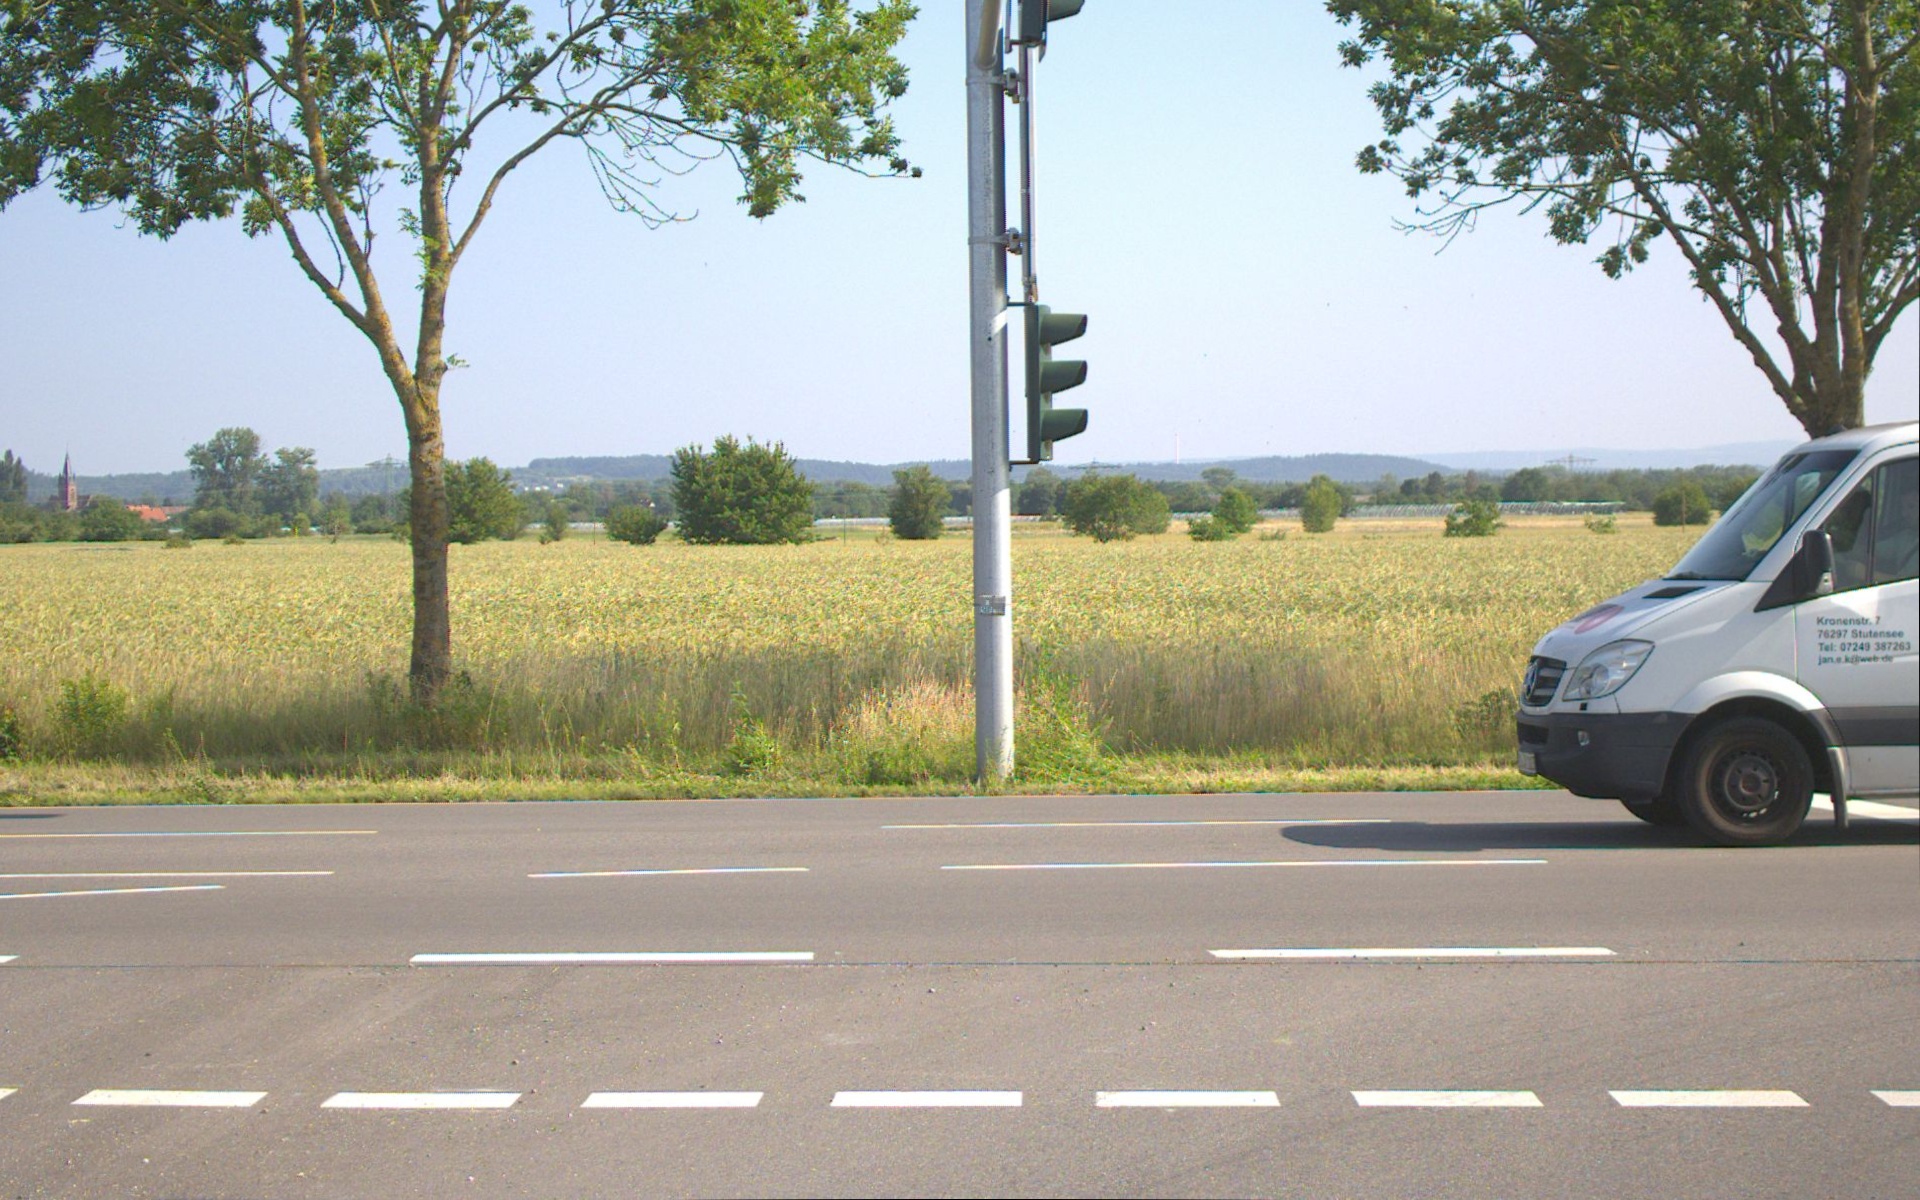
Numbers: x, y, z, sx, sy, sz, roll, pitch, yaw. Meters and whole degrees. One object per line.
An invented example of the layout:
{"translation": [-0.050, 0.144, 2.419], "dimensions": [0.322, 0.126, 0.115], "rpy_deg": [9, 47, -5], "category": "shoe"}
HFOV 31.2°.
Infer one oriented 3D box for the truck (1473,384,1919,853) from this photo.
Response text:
{"translation": [6.060, 0.071, 18.765], "dimensions": [6.178, 2.396, 2.071], "rpy_deg": [-1, 0, -1], "category": "truck"}
